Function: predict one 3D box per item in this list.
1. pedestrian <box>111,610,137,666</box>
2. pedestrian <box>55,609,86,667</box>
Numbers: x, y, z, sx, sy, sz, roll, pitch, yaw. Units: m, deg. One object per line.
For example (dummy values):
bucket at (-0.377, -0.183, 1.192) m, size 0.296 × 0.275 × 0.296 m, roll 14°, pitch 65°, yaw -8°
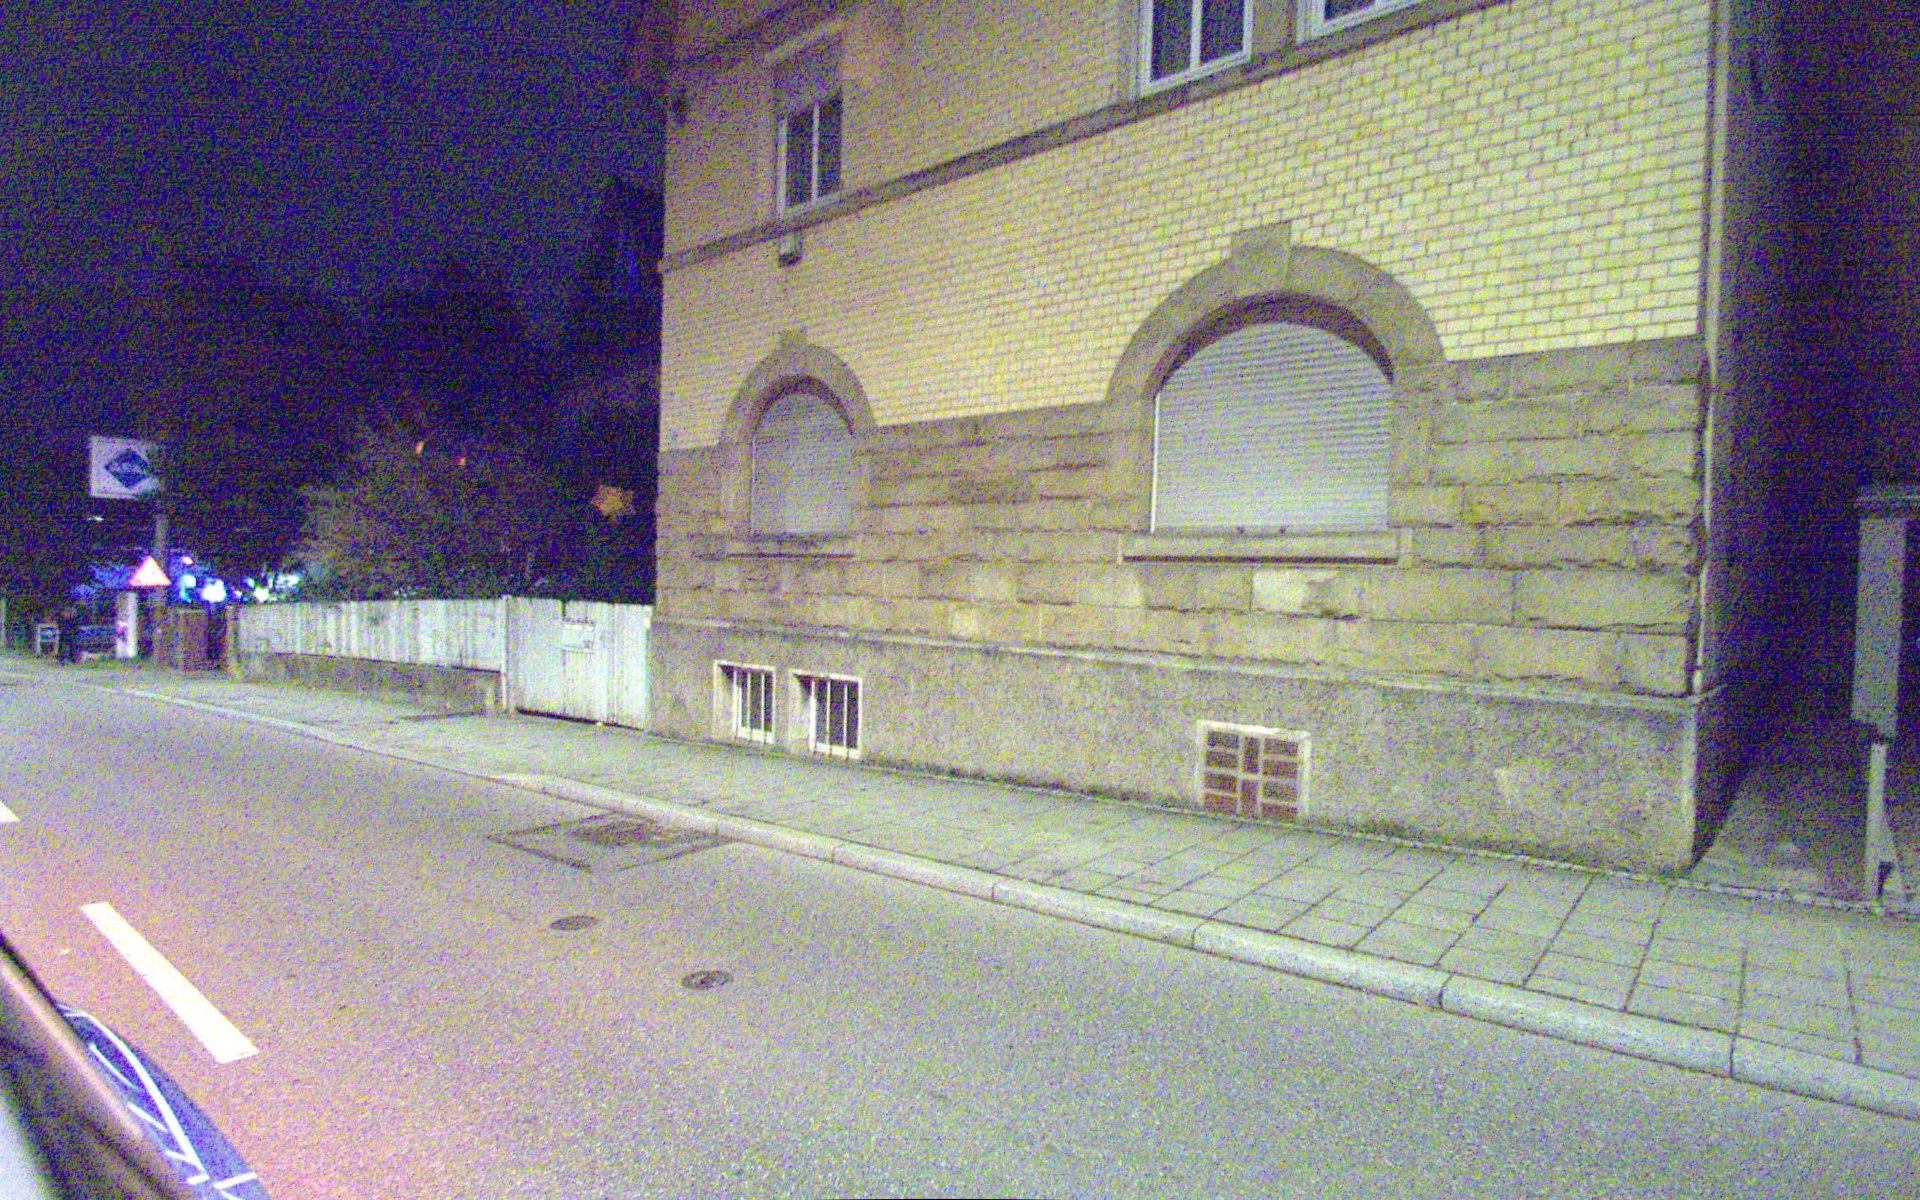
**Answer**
pedestrian at (-27.023, 1.225, 32.723) m, size 0.500 × 1.773 × 0.557 m, roll -1°, pitch 0°, yaw 41°
pedestrian at (-27.998, 1.189, 31.869) m, size 0.500 × 1.773 × 0.664 m, roll -1°, pitch 0°, yaw 41°
